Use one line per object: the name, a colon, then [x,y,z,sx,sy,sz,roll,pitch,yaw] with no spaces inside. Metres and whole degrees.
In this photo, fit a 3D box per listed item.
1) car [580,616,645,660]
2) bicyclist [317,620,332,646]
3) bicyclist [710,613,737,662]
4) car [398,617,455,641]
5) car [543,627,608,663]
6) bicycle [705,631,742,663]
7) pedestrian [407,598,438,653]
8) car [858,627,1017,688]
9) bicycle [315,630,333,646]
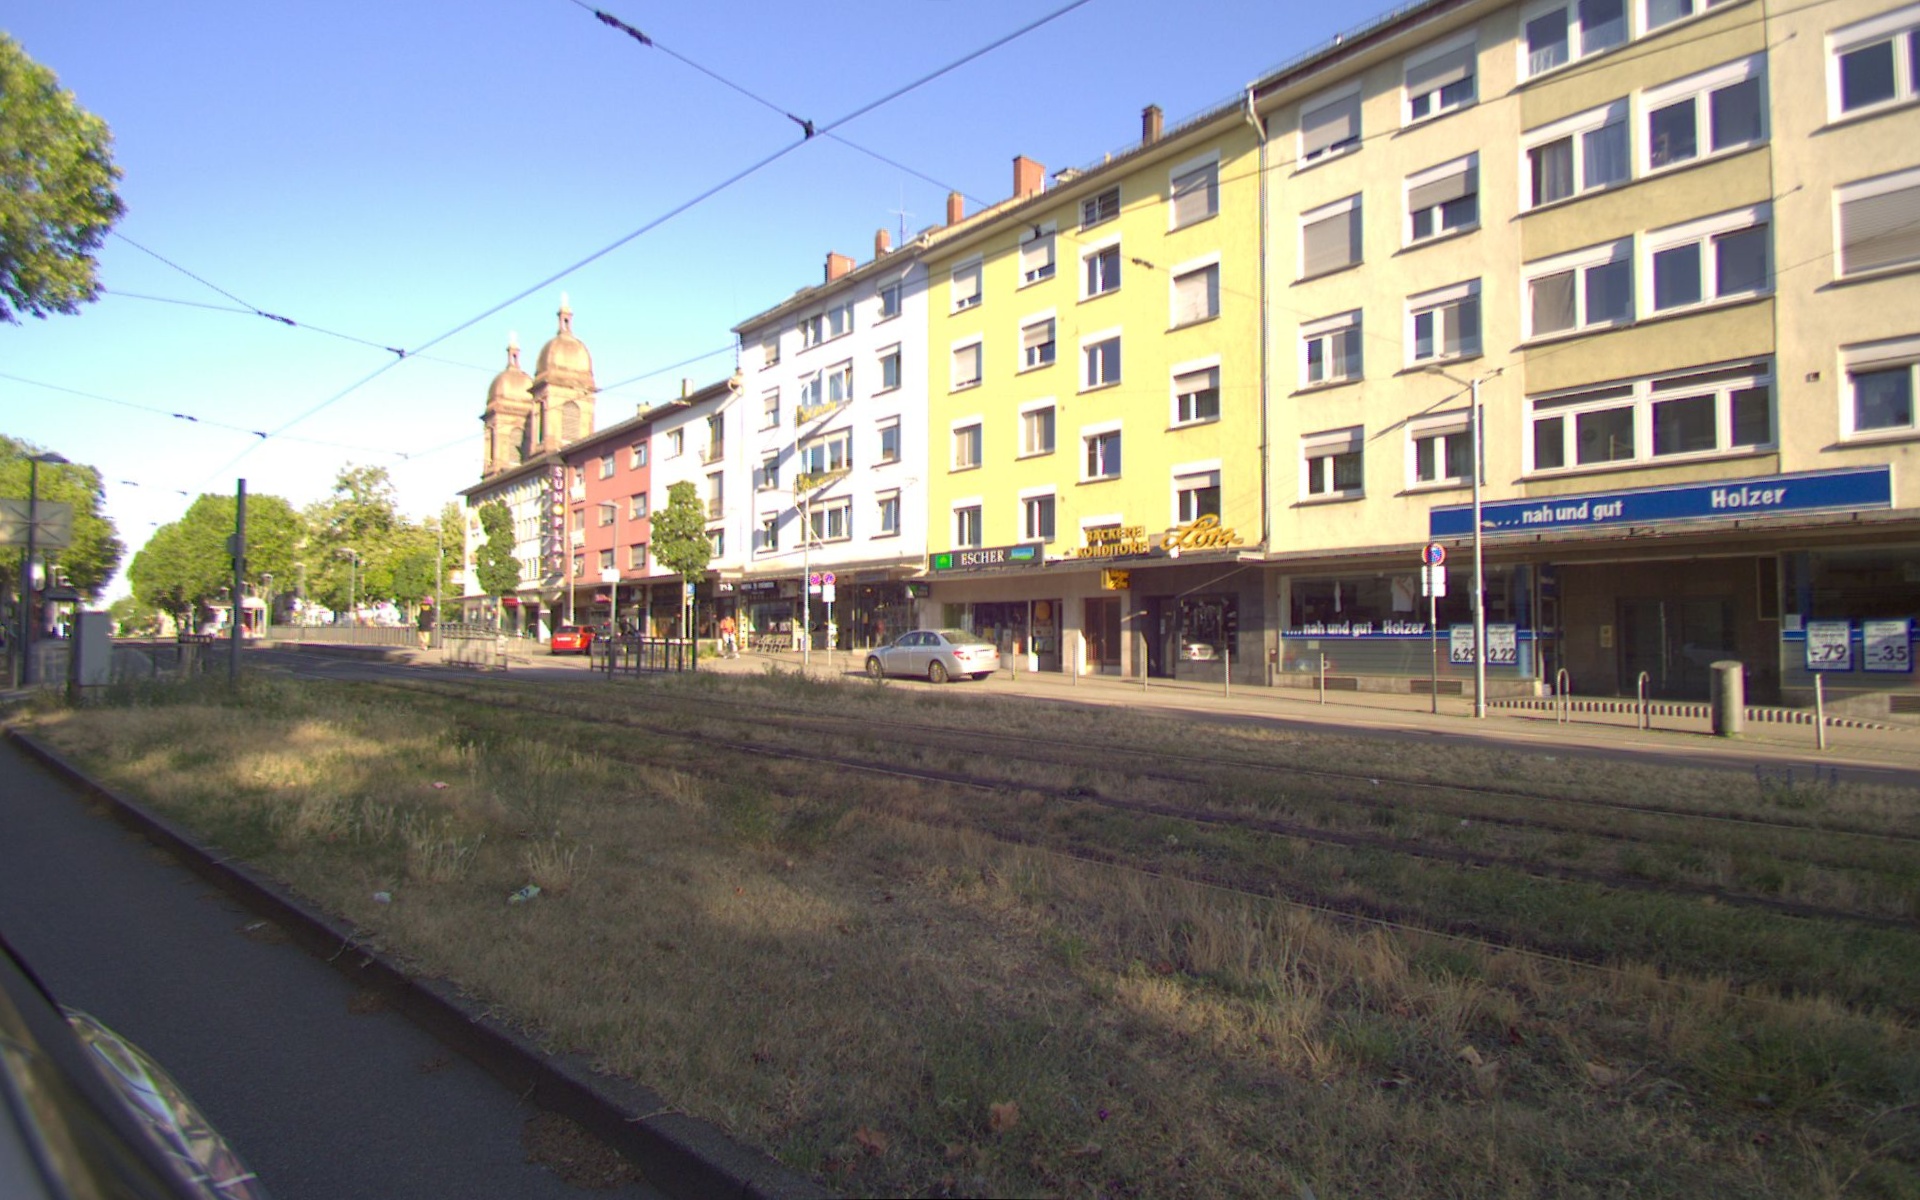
car: [-15.892,1.706,46.495,1.836,1.813,3.773,-1,0,-3]
bicyclist: [-48.523,2.522,77.279,0.754,2.029,0.912,3,-3,-42]
bicyclist: [-9.409,1.476,40.311,0.683,1.901,1.060,-2,1,-32]
car: [-36.535,1.970,69.390,1.720,1.497,3.998,-1,0,1]
car: [-18.239,2.116,48.194,1.836,1.502,3.773,-1,0,-3]
bicycle: [-9.446,1.860,40.409,0.696,1.167,2.204,-2,1,-33]
pedestrian: [-18.397,0.865,34.639,0.590,1.863,0.733,-2,-3,43]
car: [-0.698,1.526,28.217,1.970,1.489,4.414,-1,0,-44]
bicycle: [-48.589,2.907,77.332,0.709,1.239,2.281,3,-3,-42]
